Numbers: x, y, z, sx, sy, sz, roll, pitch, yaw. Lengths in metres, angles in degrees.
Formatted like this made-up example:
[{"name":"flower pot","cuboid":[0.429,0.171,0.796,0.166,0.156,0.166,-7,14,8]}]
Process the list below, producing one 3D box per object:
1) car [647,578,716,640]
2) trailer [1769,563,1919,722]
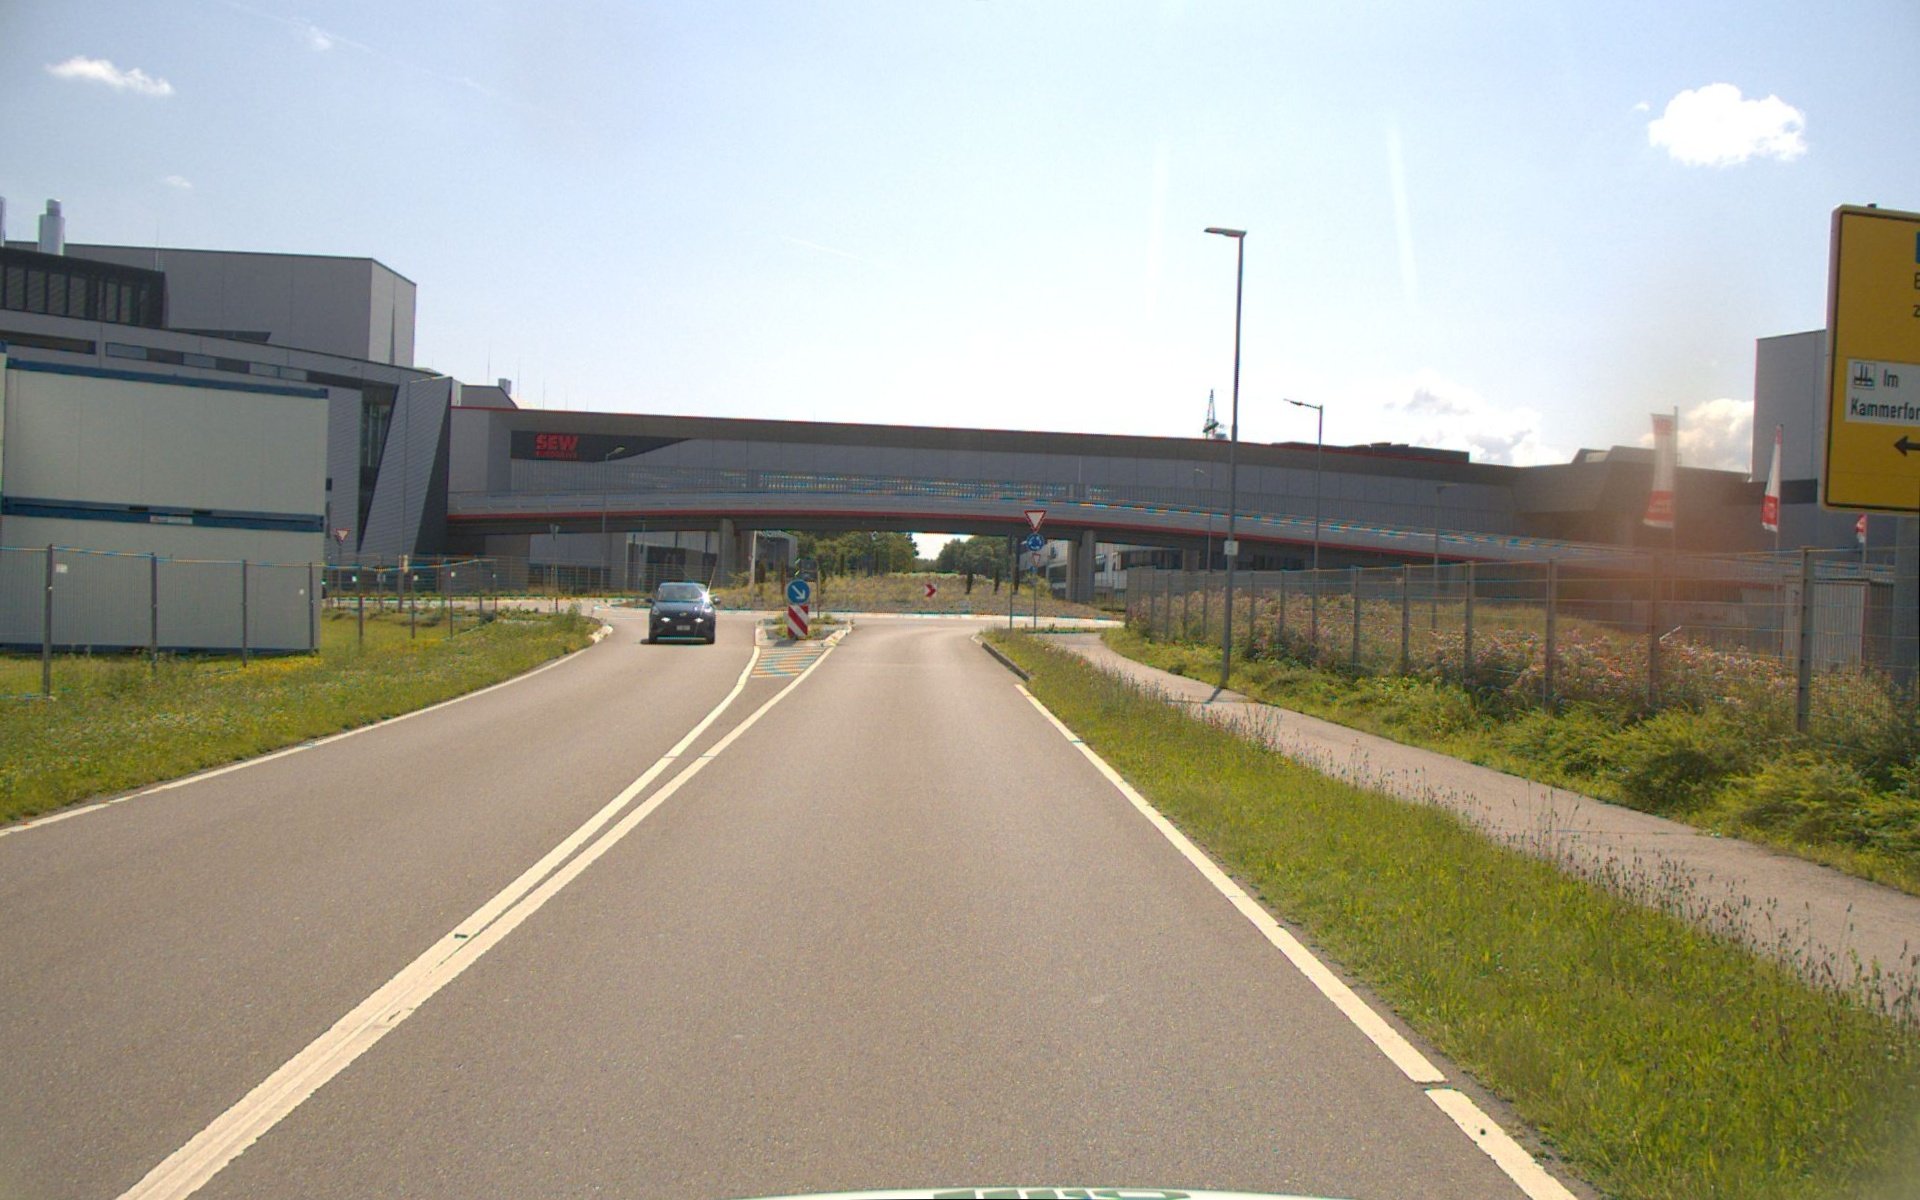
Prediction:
[{"name":"car","cuboid":[-7.181,0.217,42.723,1.671,1.507,3.991,1,0,-9]},{"name":"trailer","cuboid":[30.491,1.270,52.090,13.901,4.515,2.732,1,0,-36]}]
